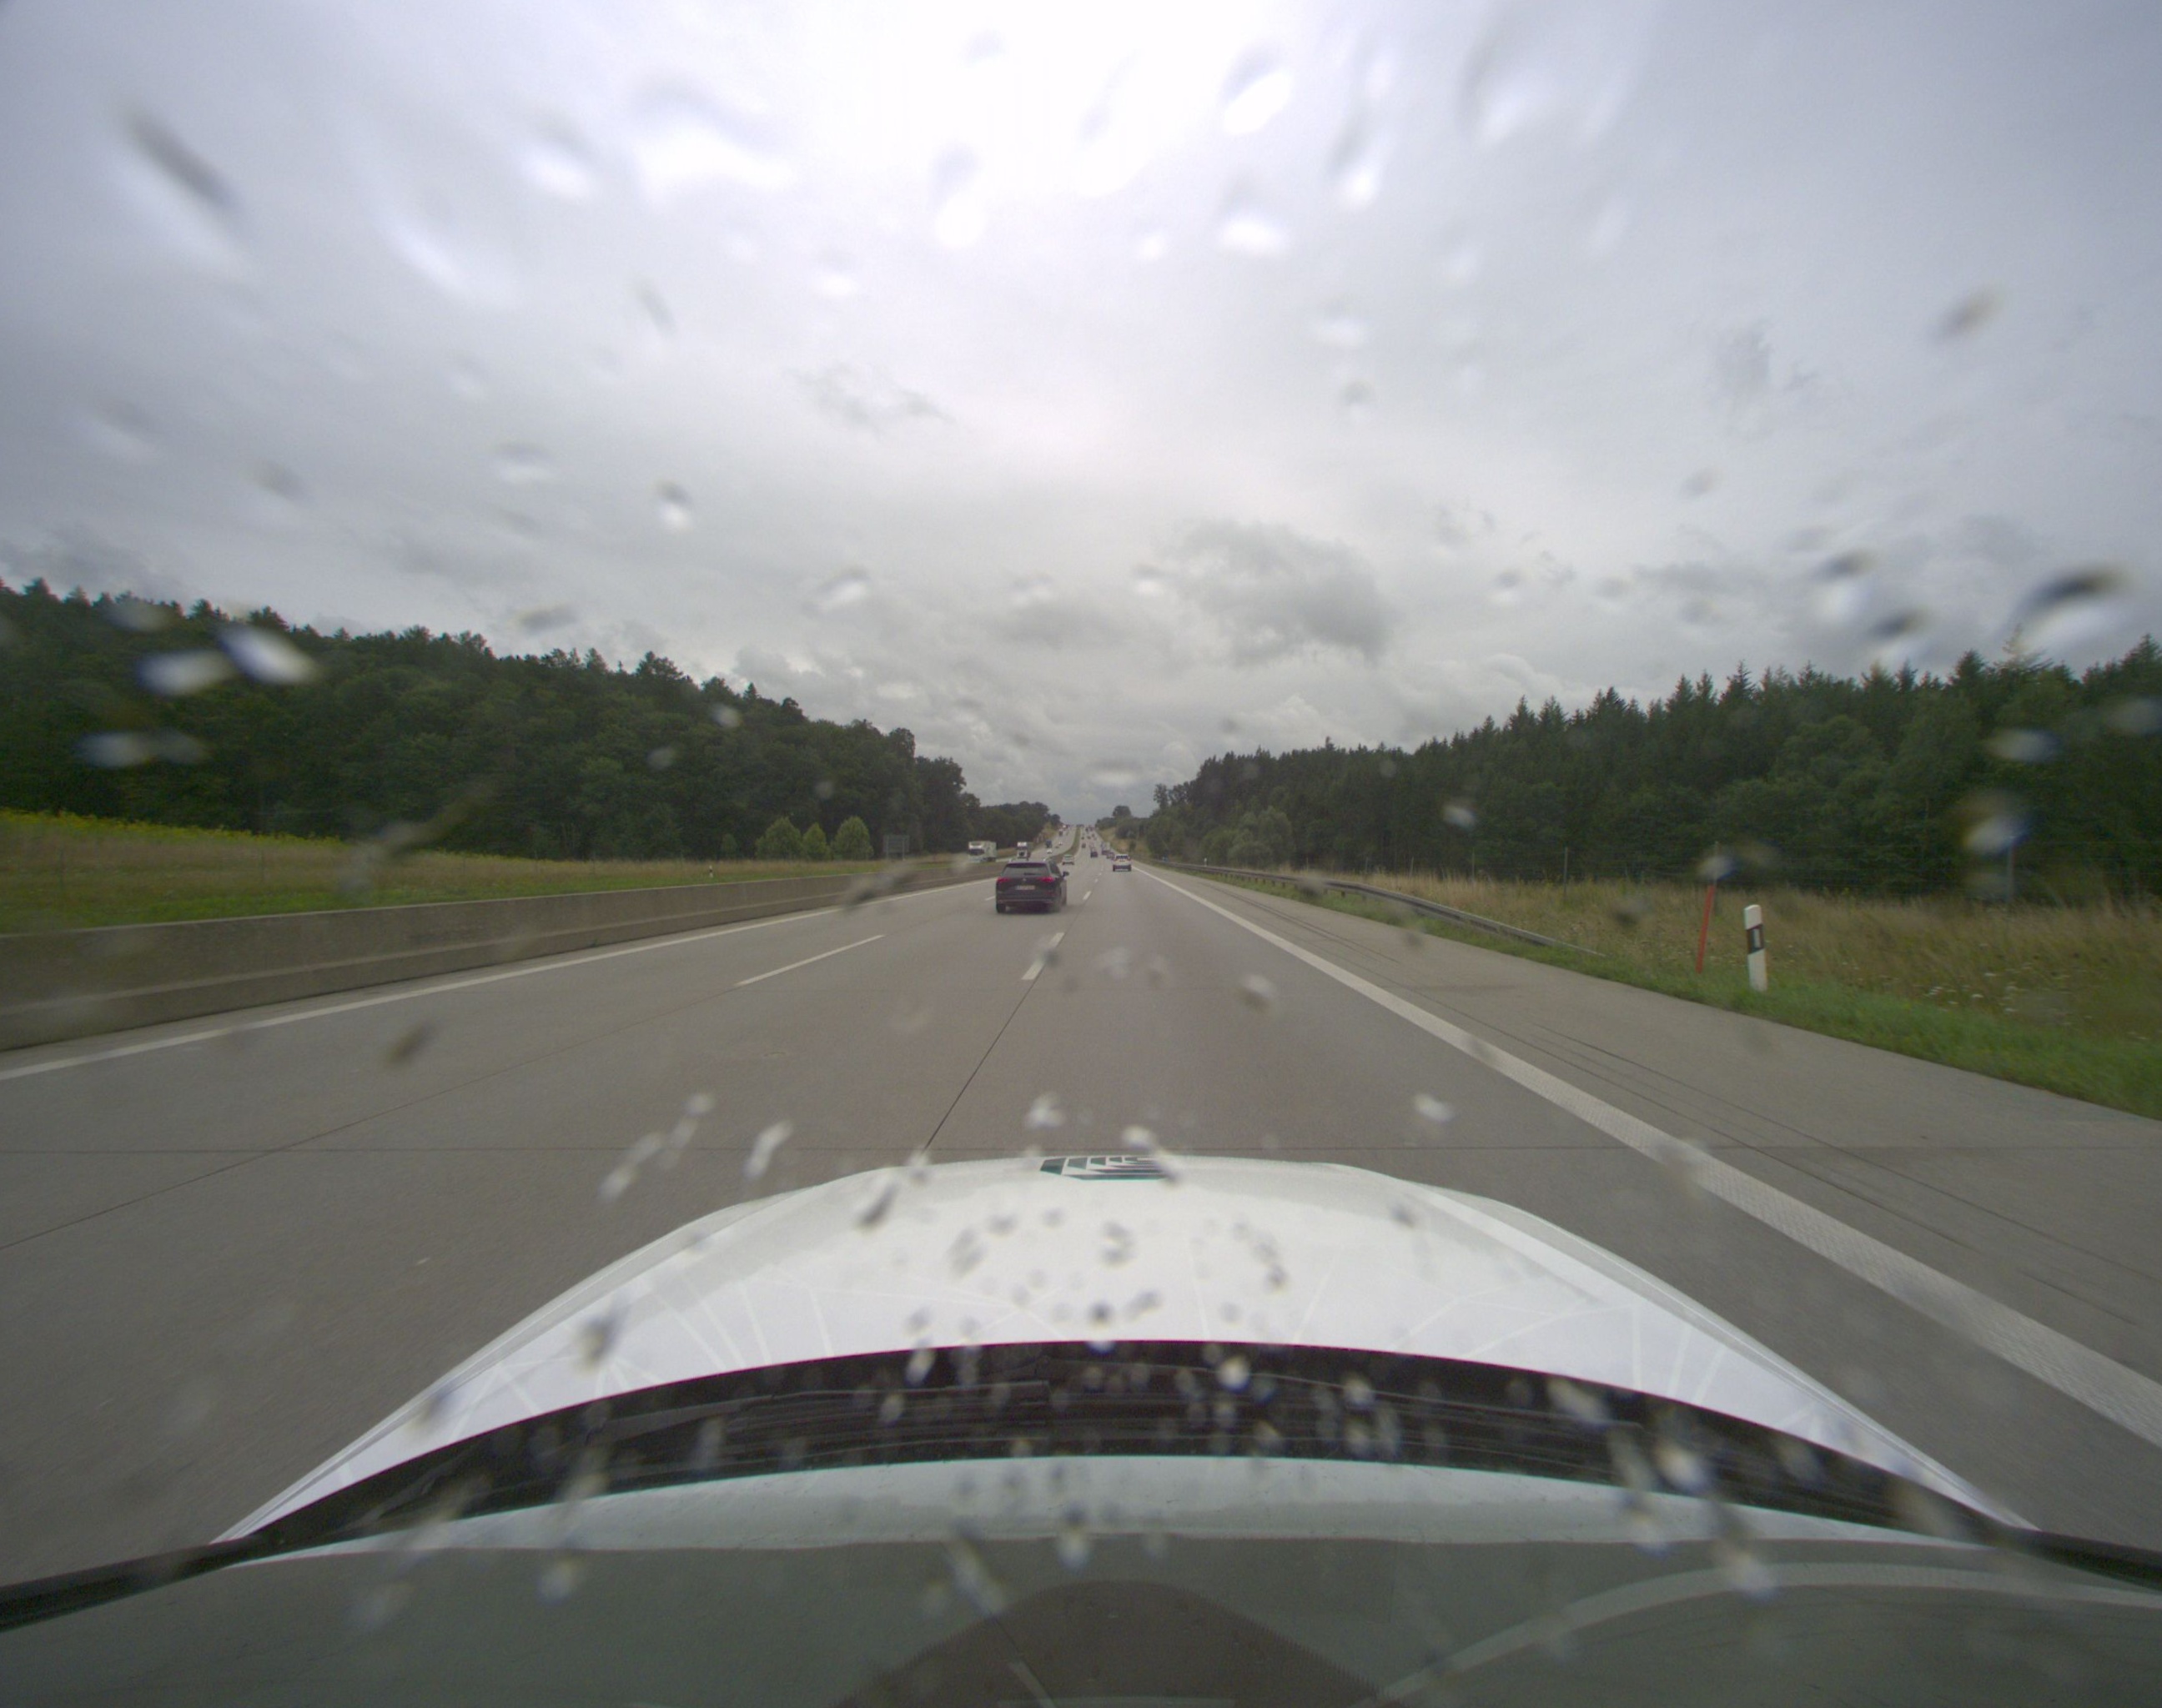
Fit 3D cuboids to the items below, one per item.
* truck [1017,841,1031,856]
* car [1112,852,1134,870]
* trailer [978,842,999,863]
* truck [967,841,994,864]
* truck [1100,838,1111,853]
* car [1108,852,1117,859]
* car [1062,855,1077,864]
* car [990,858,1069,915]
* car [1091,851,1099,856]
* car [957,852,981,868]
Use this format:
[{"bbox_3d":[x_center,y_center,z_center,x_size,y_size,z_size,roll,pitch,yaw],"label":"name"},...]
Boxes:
[{"bbox_3d":[-15.102,-1.474,215.821,3.201,4.057,7.166,0,0,1],"label":"truck"},{"bbox_3d":[4.116,0.677,80.092,1.820,1.655,3.983,0,0,-1],"label":"car"},{"bbox_3d":[-17.054,-0.317,150.818,2.808,3.782,7.719,0,0,2],"label":"trailer"},{"bbox_3d":[-17.383,-0.295,141.215,2.802,3.772,11.356,0,0,2],"label":"truck"},{"bbox_3d":[7.551,-2.629,250.488,3.008,4.179,8.354,-1,2,0],"label":"truck"},{"bbox_3d":[7.354,0.399,192.093,1.986,1.530,4.002,1,0,2],"label":"car"},{"bbox_3d":[-1.770,0.894,128.888,1.939,1.356,4.264,-1,0,4],"label":"car"},{"bbox_3d":[-1.354,0.839,22.982,1.745,1.398,4.487,0,0,2],"label":"car"},{"bbox_3d":[3.522,-0.126,208.575,1.928,1.375,4.596,0,1,1],"label":"car"},{"bbox_3d":[-11.454,0.592,83.580,1.878,1.588,4.001,0,0,1],"label":"car"}]
